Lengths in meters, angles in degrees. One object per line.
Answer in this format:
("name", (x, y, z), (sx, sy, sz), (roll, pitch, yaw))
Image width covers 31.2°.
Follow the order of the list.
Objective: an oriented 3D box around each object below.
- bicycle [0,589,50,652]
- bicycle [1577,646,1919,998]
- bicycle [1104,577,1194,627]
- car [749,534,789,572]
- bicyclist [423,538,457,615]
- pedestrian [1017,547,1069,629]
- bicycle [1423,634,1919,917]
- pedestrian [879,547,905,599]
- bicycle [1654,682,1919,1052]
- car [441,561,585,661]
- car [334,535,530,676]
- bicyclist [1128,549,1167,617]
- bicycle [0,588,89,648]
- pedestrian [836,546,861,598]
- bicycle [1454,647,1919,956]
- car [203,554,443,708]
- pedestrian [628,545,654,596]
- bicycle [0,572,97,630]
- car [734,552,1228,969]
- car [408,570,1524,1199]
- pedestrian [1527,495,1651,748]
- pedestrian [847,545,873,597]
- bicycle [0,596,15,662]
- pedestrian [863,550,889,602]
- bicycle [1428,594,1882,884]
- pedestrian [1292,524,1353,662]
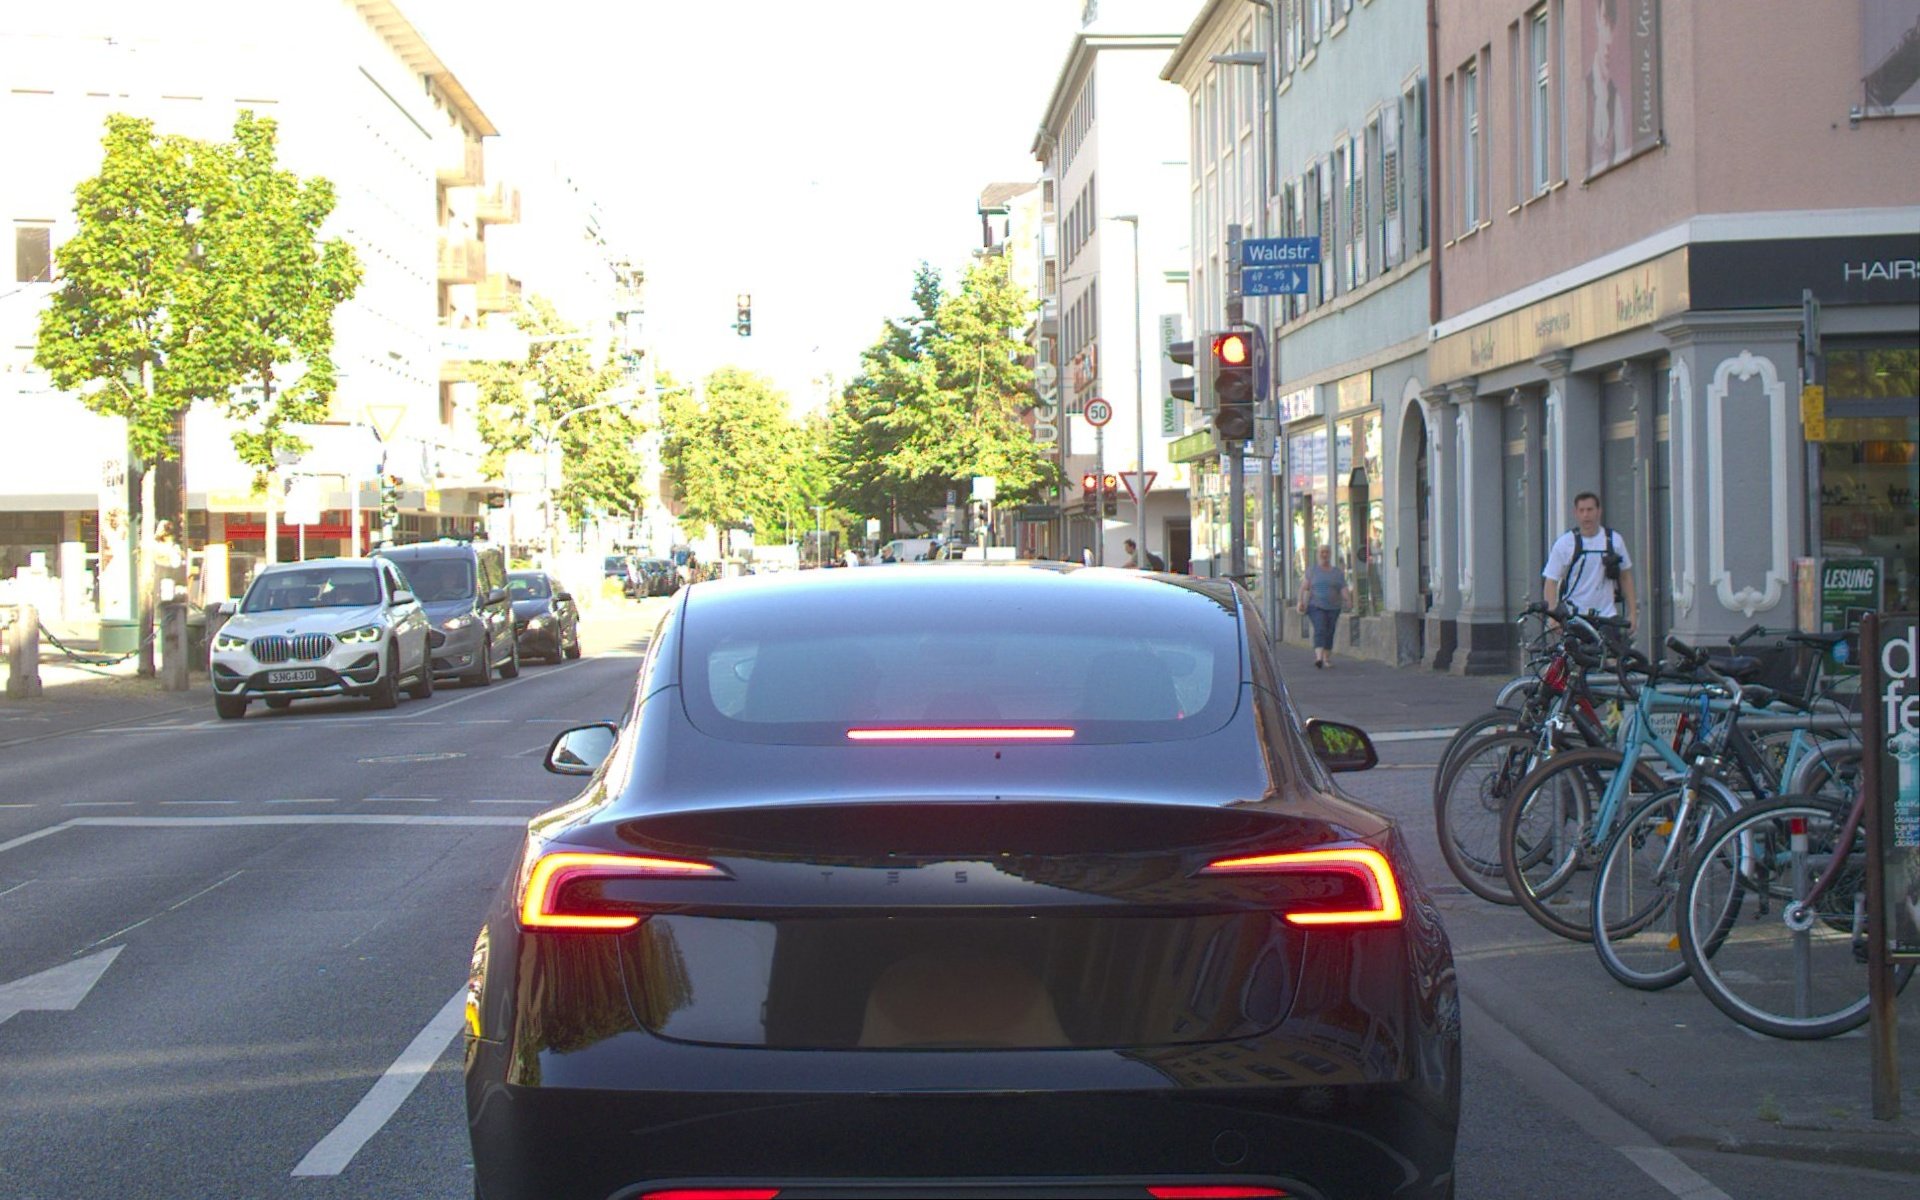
("bicycle", (-14.806, 0.308, 52.104), (1.864, 0.931, 0.606), (0, 1, -1))
("bicycle", (2.990, 0.701, 11.164), (1.873, 1.084, 0.414), (-2, 0, 4))
("bicycle", (3.924, 0.043, 71.285), (1.784, 1.003, 0.472), (1, 0, -16))
("car", (-10.377, -2.564, 187.142), (1.993, 2.007, 4.000), (0, 1, -1))
("bicyclist", (-10.198, -0.466, 67.397), (0.522, 1.498, 0.476), (1, 0, -24))
("pedestrian", (1.658, -0.251, 68.841), (0.754, 1.626, 0.956), (1, 0, -18))
("bicycle", (2.810, 0.688, 13.638), (1.873, 1.034, 0.547), (-2, 0, 5))
("pedestrian", (-1.855, -0.748, 93.871), (0.521, 1.417, 0.479), (1, 0, -30))
("bicycle", (3.002, 0.754, 9.993), (1.873, 1.034, 0.353), (-2, 0, 6))
("car", (-6.764, 0.143, 52.350), (1.715, 1.441, 3.845), (1, 1, -1))
("car", (-6.446, 0.027, 42.378), (1.787, 1.640, 4.403), (0, 1, -1))
("bicyclist", (3.882, -0.356, 71.281), (0.669, 1.390, 0.462), (1, 0, -16))
("bicycle", (-14.834, 0.283, 54.552), (1.864, 0.931, 0.606), (0, 1, -1))
("pedestrian", (-3.049, -0.763, 94.206), (0.472, 1.412, 0.522), (1, 0, -31))
("bicycle", (2.772, 0.719, 12.451), (1.873, 1.034, 0.533), (-2, 0, 4))
("car", (-6.635, 0.290, 36.168), (1.789, 1.455, 3.757), (-2, 1, 0))
("pedestrian", (-10.538, -0.989, 113.633), (0.848, 1.689, 0.718), (0, 1, -3))
("bicycle", (-20.818, 0.019, 77.901), (2.361, 1.291, 0.513), (1, 0, -26))
("car", (0.007, 0.533, 13.833), (1.718, 1.420, 3.758), (0, 1, -2))
("car", (-0.012, 0.656, 7.618), (1.822, 1.437, 4.000), (0, 1, -1))
("pedestrian", (4.460, 0.147, 24.417), (0.750, 1.759, 0.836), (1, 0, 4))
("pedestrian", (-2.702, -0.789, 93.334), (0.521, 1.417, 0.479), (1, 0, -30))
("bicycle", (-14.717, 0.406, 49.824), (1.864, 0.931, 0.606), (1, 0, -1))
("pedestrian", (-2.317, -0.662, 94.492), (0.521, 1.417, 0.479), (1, 0, -30))
("bicycle", (2.960, 0.591, 14.757), (1.828, 1.165, 0.505), (-2, 0, 5))
("pedestrian", (4.569, -0.090, 43.390), (0.706, 1.736, 0.540), (0, 1, -1))
